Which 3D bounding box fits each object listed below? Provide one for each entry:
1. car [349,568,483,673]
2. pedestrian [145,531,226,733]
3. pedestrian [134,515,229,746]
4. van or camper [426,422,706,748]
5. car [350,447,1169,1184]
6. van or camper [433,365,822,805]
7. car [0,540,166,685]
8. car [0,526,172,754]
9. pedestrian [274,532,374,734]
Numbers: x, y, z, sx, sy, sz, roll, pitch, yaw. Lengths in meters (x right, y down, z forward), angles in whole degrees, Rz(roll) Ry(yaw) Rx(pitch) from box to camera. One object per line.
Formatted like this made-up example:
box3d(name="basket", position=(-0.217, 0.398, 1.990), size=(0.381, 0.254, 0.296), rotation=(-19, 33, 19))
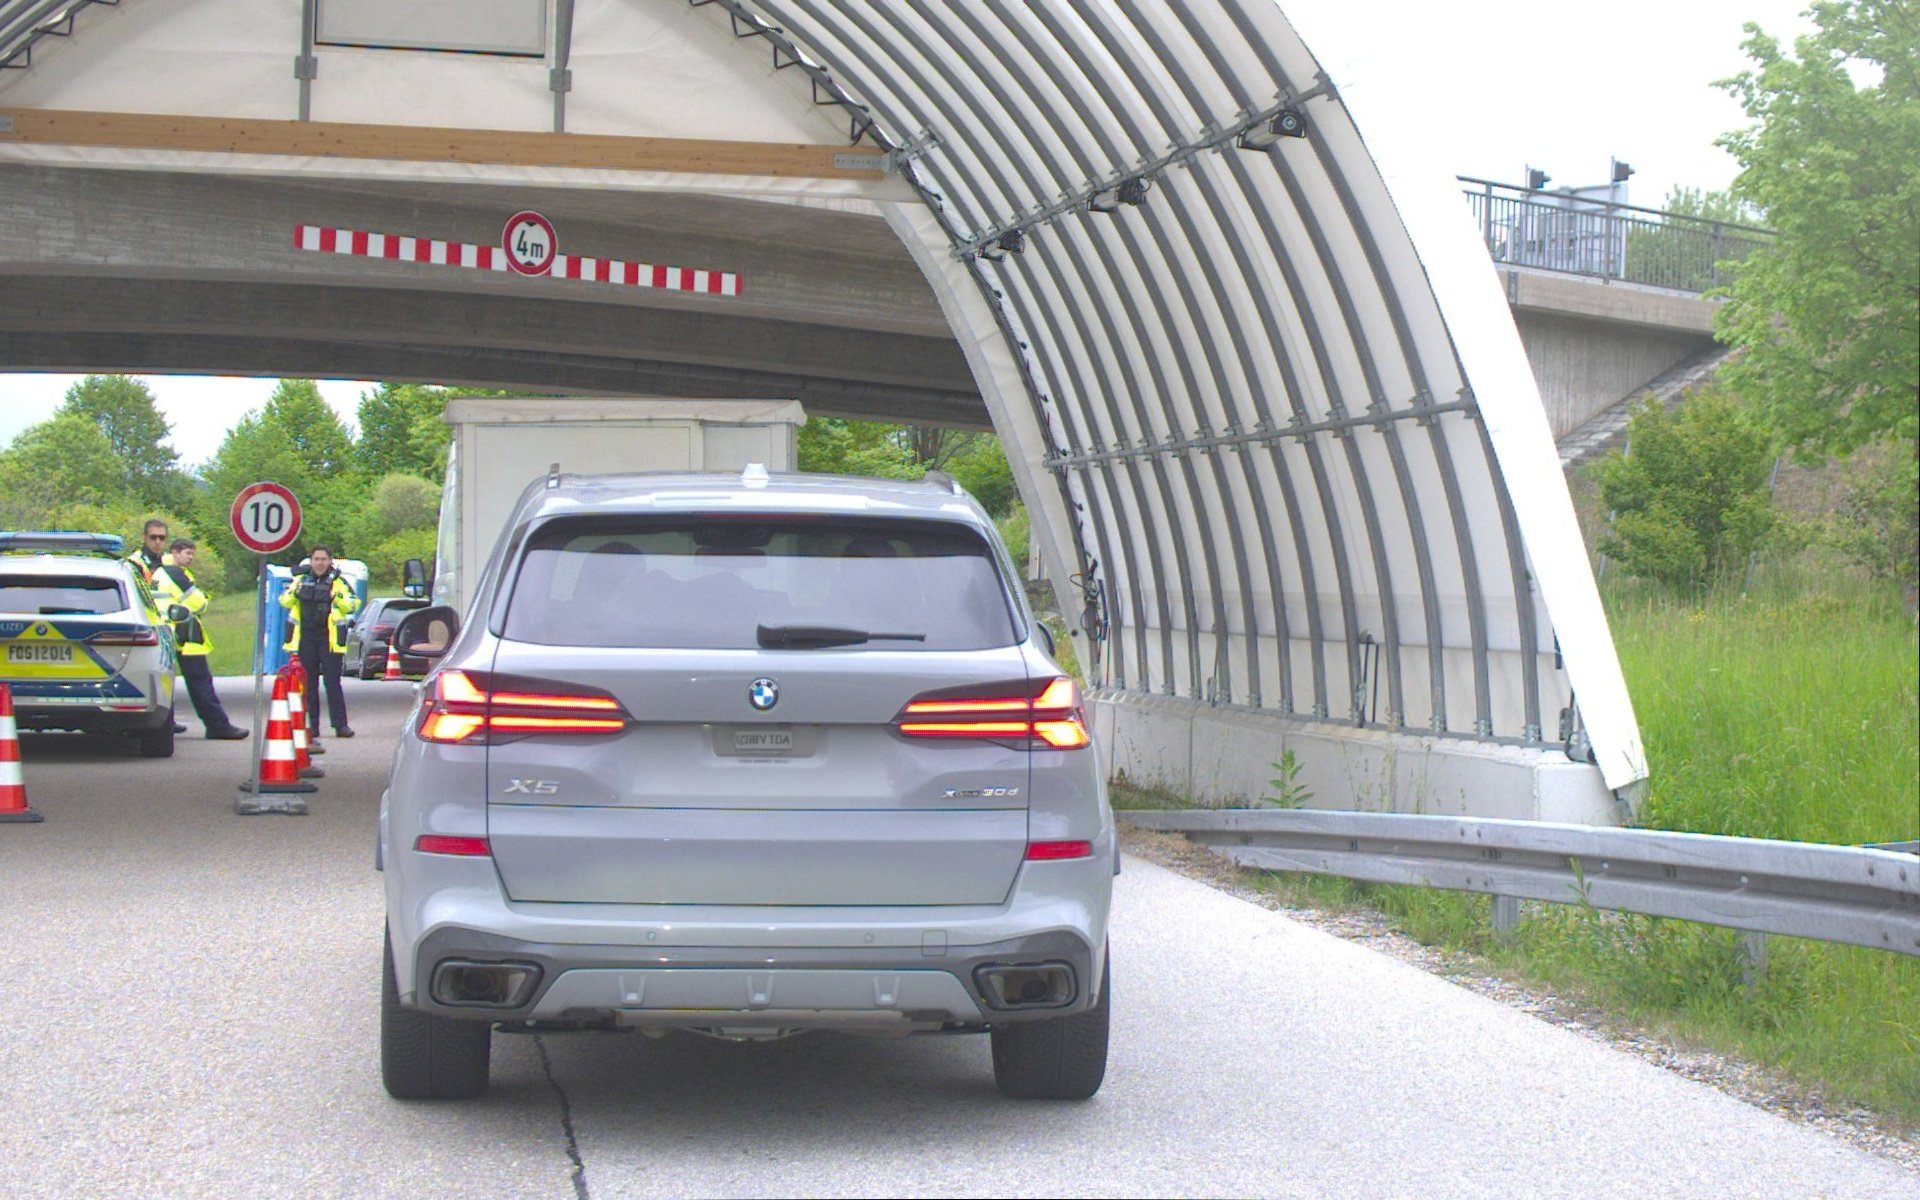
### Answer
box3d(name="car", position=(-9.299, 0.327, 58.526), size=(1.993, 1.716, 3.897), rotation=(0, 0, -13))
box3d(name="pedestrian", position=(-6.763, 0.273, 30.037), size=(0.609, 1.748, 0.666), rotation=(0, 0, -6))
box3d(name="pedestrian", position=(-6.555, 0.247, 28.937), size=(0.749, 1.912, 0.763), rotation=(0, 0, -15))
box3d(name="van or camper", position=(-3.473, -0.138, 29.397), size=(2.103, 2.510, 5.552), rotation=(0, 0, -9))
box3d(name="car", position=(-0.787, 0.497, 10.343), size=(1.993, 1.759, 4.001), rotation=(0, 0, -9))
box3d(name="van or camper", position=(-2.432, -0.113, 23.331), size=(2.229, 2.543, 6.612), rotation=(0, 0, -9))
box3d(name="car", position=(-13.940, 0.159, 48.933), size=(4.807, 2.007, 1.840), rotation=(0, 0, 7))
box3d(name="car", position=(-7.159, 0.278, 26.751), size=(1.877, 1.641, 4.001), rotation=(0, 0, -15))
box3d(name="pedestrian", position=(-5.474, 0.275, 29.630), size=(0.779, 1.716, 0.757), rotation=(0, 0, -5))
